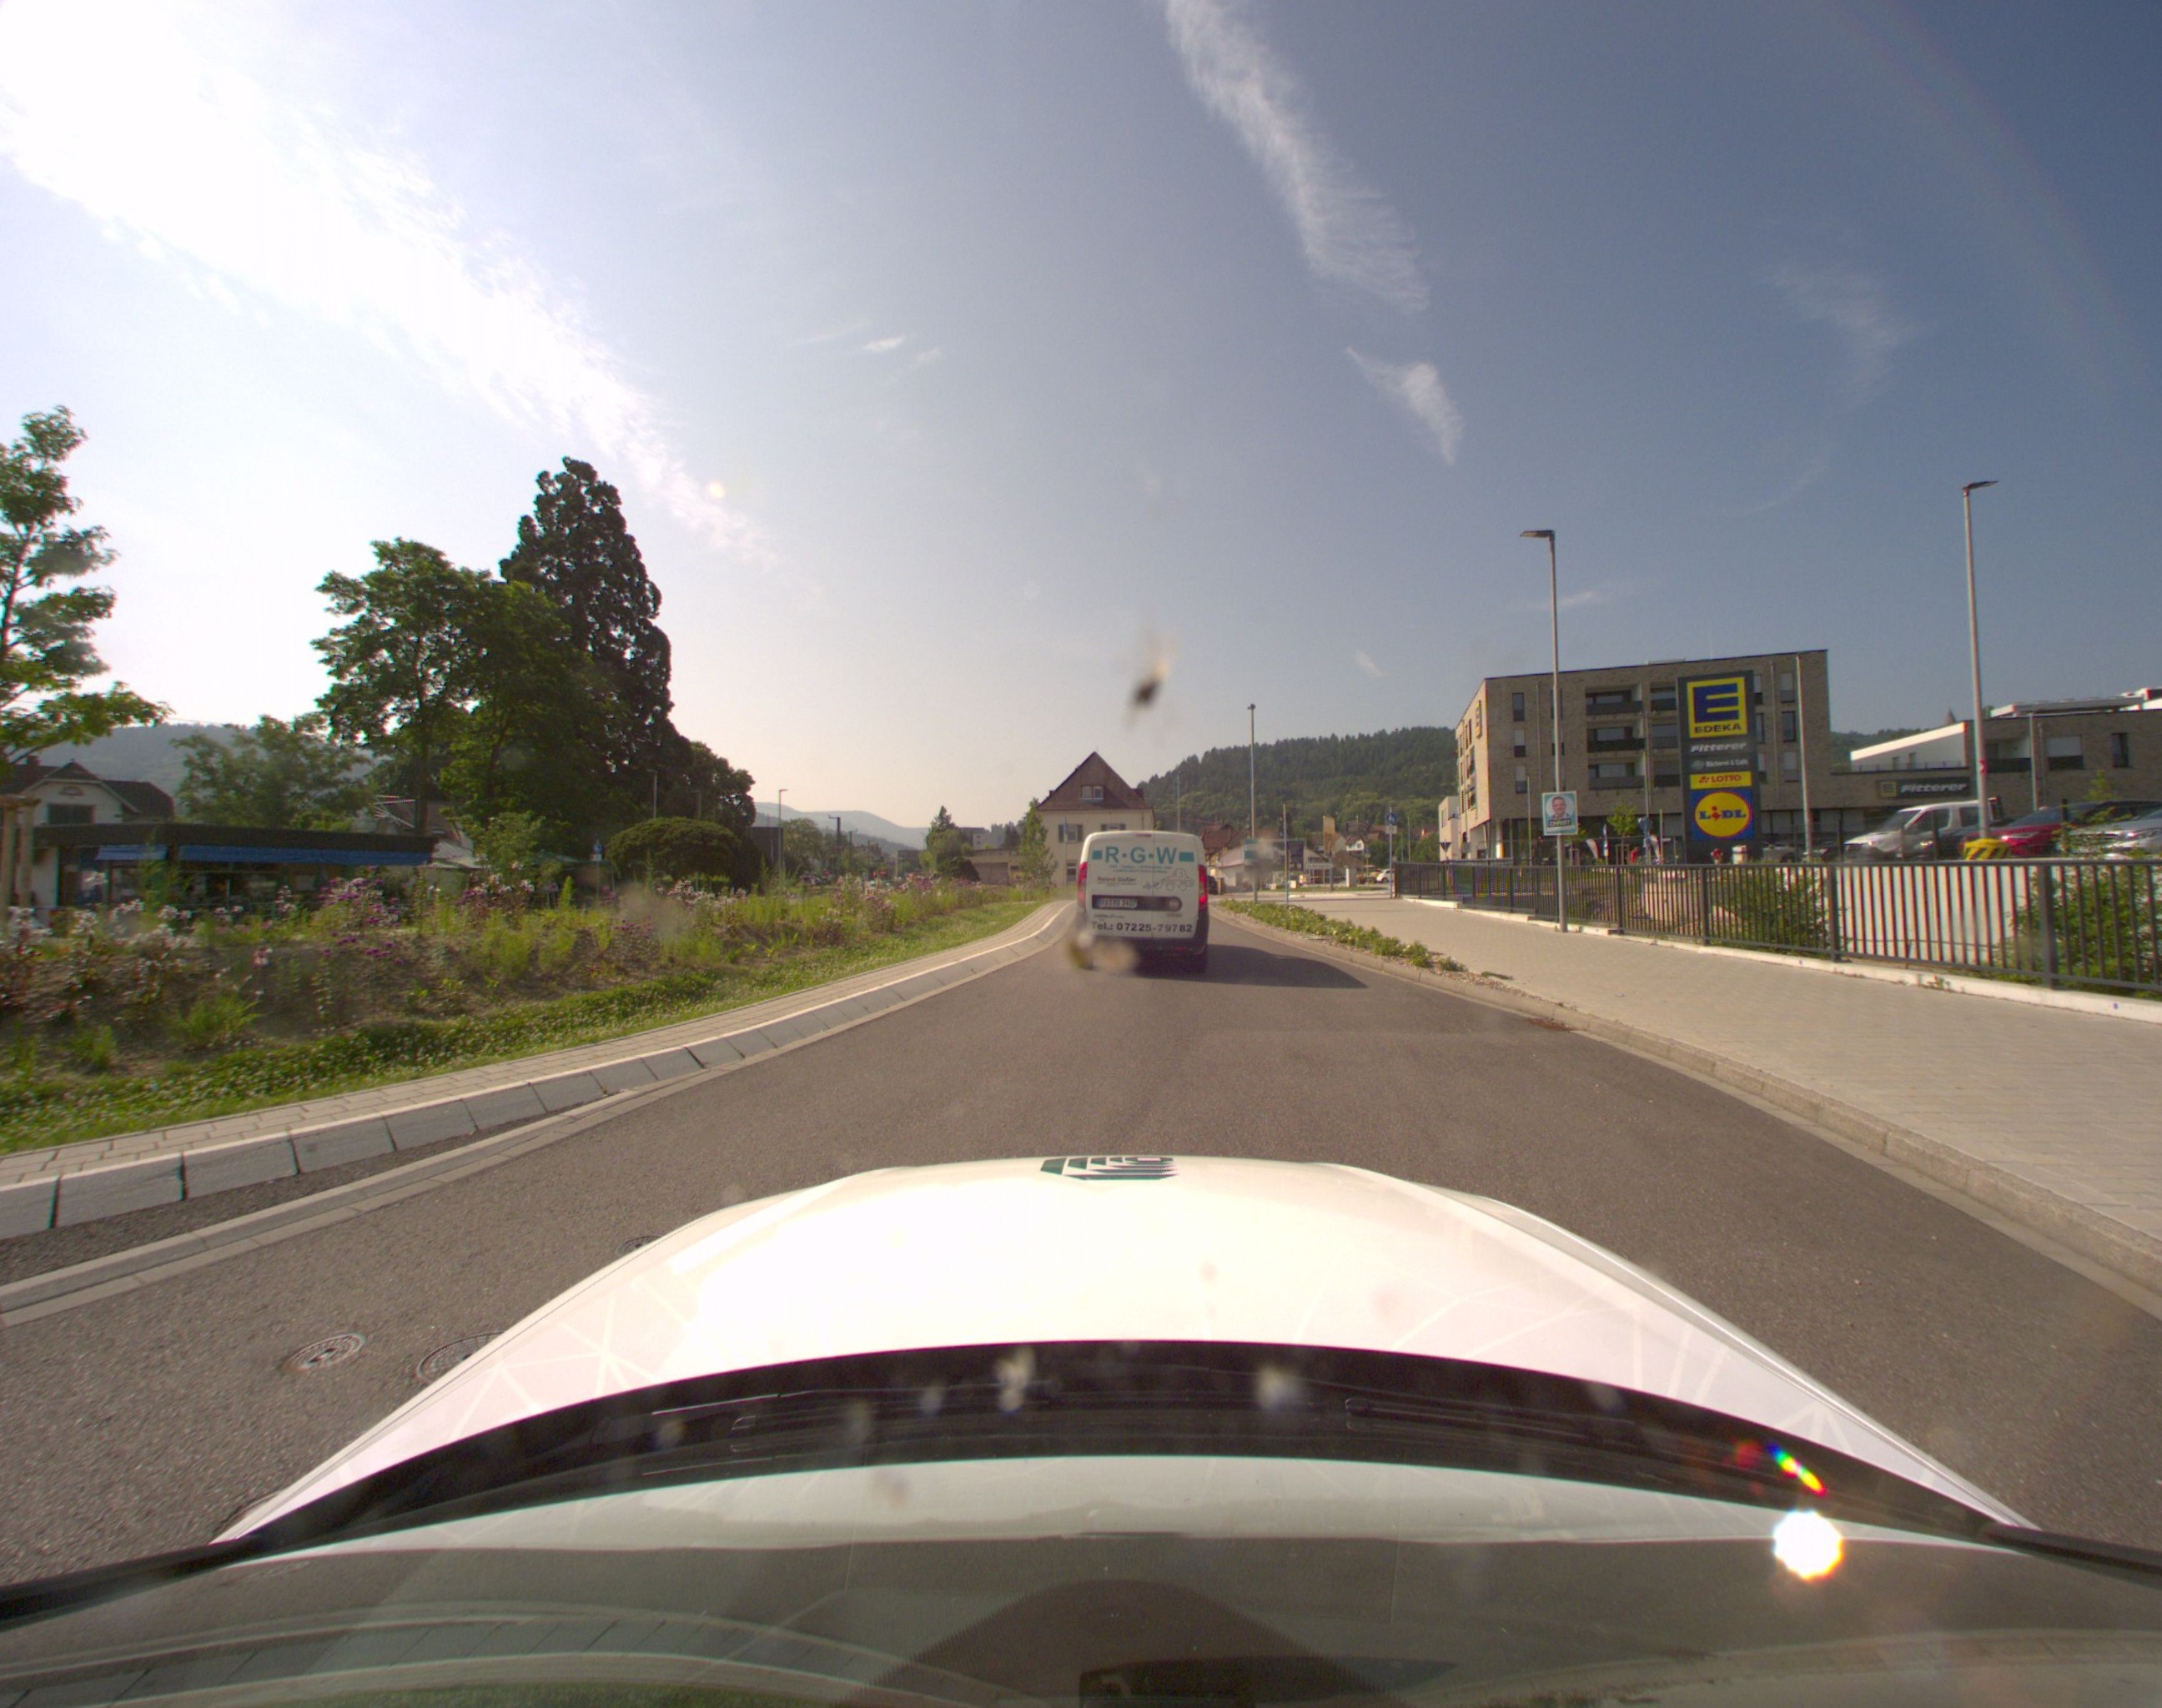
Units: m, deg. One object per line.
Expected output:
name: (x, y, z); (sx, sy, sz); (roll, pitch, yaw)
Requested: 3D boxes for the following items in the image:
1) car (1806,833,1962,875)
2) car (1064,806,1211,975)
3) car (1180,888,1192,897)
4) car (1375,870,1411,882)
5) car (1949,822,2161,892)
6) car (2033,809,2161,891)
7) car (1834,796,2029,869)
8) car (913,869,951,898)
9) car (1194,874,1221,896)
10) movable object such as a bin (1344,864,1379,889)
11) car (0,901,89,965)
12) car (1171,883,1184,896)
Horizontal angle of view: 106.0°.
car: (31.038, 0.052, 31.654); (3.949, 1.448, 1.687); (-3, -3, 28)
car: (1.026, 0.475, 12.486); (1.796, 2.078, 4.614); (1, -1, 8)
car: (11.378, 4.165, 88.335); (1.299, 1.003, 3.096); (-2, -2, 7)
car: (34.441, 2.421, 89.824); (3.455, 1.304, 1.471); (-1, -2, 7)
car: (21.837, 0.079, 17.869); (3.538, 1.430, 1.713); (-1, -1, 6)
car: (21.337, -0.088, 15.497); (4.033, 1.487, 1.720); (-1, -1, 8)
car: (27.954, -0.627, 26.975); (3.950, 2.136, 2.012); (-3, -3, 27)
car: (-10.912, 2.132, 59.807); (1.802, 2.014, 4.003); (-1, -1, 3)
car: (10.260, 2.501, 65.925); (1.868, 1.684, 4.013); (-2, -3, 13)
movable object such as a bin: (21.979, 1.775, 63.900); (2.425, 1.844, 1.434); (-2, -3, 14)
car: (-21.457, 1.543, 15.358); (1.381, 1.172, 3.247); (-1, -1, 5)
car: (14.785, 5.441, 124.659); (1.982, 2.014, 4.008); (-2, -3, 7)
